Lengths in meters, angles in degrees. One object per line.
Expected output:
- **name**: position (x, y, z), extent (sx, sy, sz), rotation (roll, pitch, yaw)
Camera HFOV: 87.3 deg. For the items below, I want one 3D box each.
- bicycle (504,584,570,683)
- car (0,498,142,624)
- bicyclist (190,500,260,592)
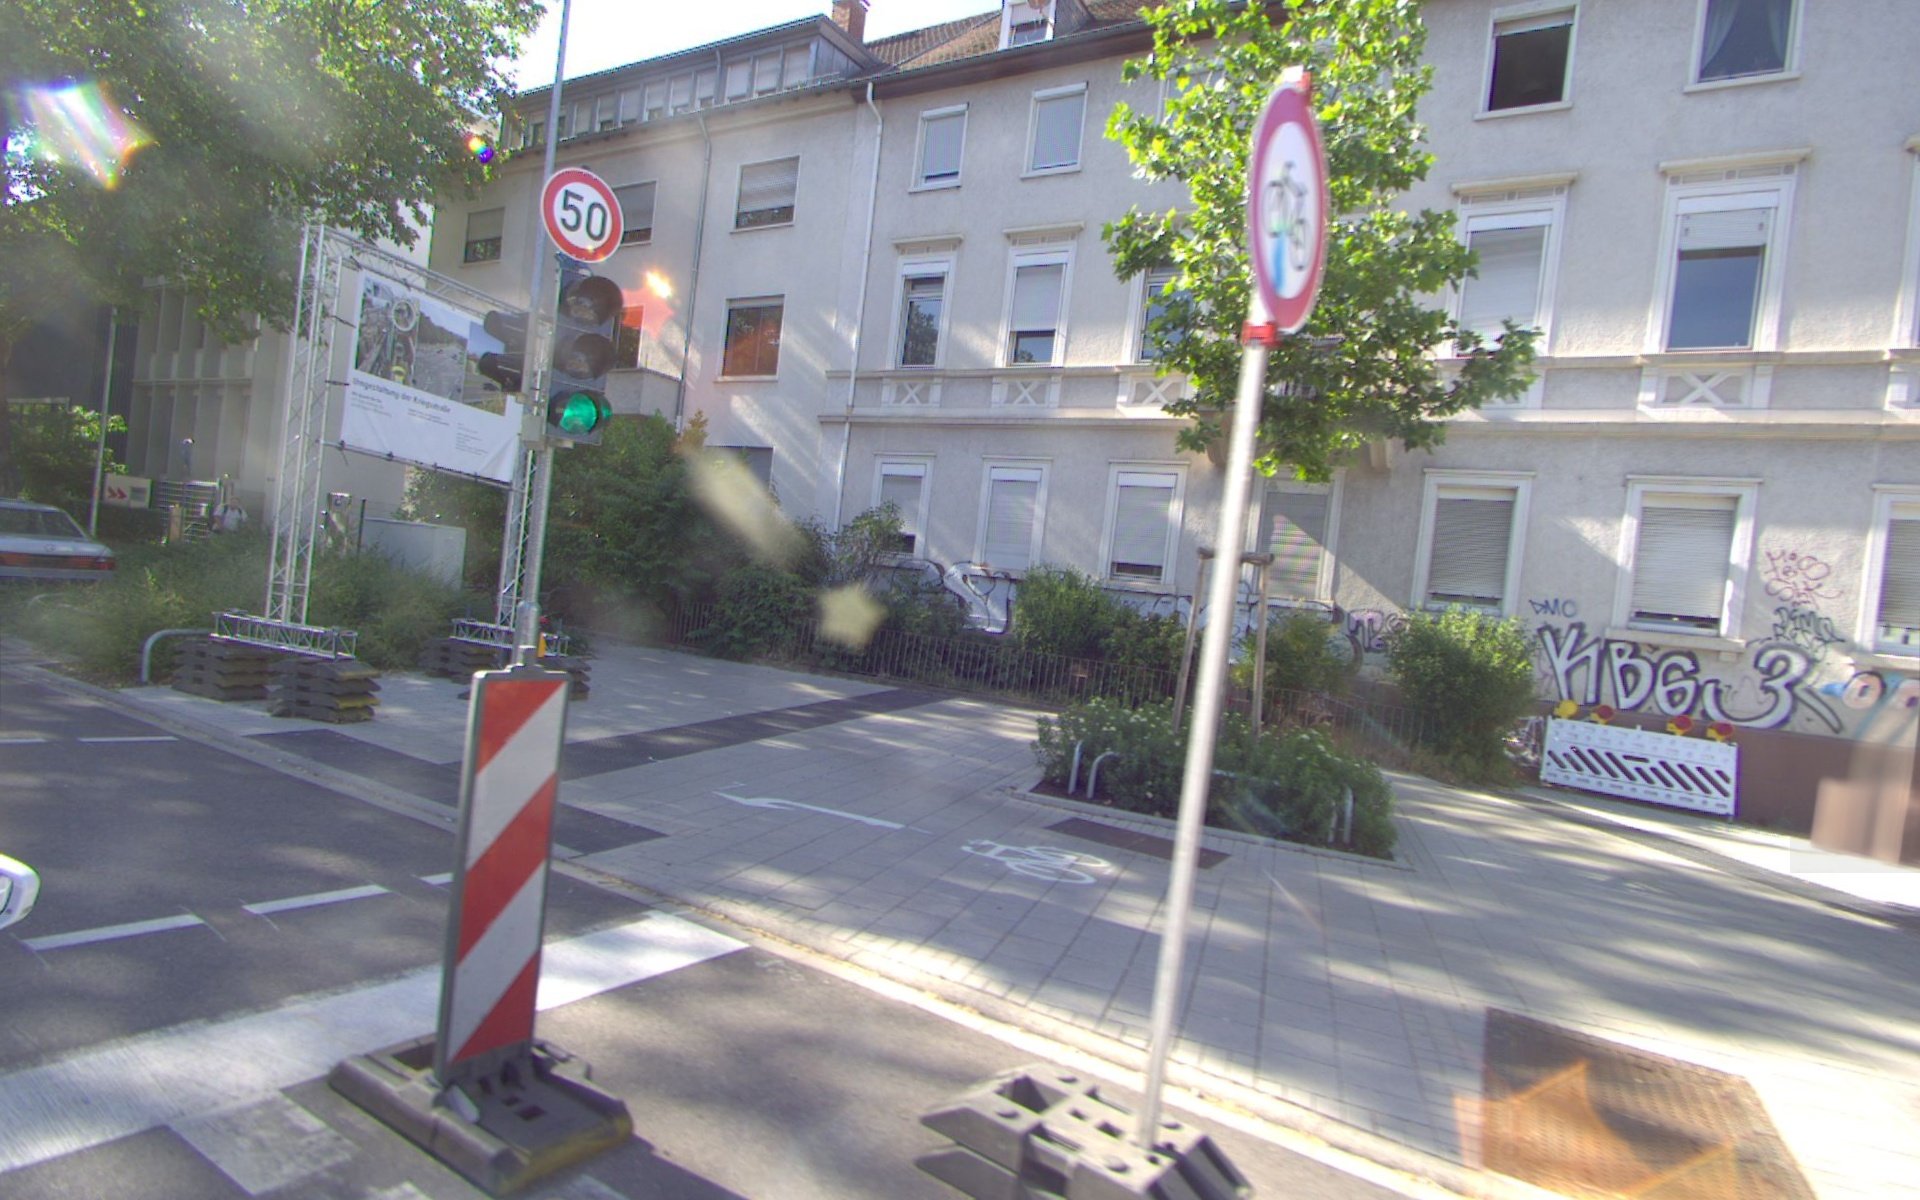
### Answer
- **bicycle**: position (-5.180, 0.370, 12.290), extent (0.581, 1.017, 2.119), rotation (7, -1, -24)
- **car**: position (-13.904, -0.722, 14.267), extent (4.858, 1.497, 1.855), rotation (7, -1, 29)
- **bicyclist**: position (-15.848, -1.158, 21.689), extent (1.053, 1.843, 0.725), rotation (7, 1, 32)
